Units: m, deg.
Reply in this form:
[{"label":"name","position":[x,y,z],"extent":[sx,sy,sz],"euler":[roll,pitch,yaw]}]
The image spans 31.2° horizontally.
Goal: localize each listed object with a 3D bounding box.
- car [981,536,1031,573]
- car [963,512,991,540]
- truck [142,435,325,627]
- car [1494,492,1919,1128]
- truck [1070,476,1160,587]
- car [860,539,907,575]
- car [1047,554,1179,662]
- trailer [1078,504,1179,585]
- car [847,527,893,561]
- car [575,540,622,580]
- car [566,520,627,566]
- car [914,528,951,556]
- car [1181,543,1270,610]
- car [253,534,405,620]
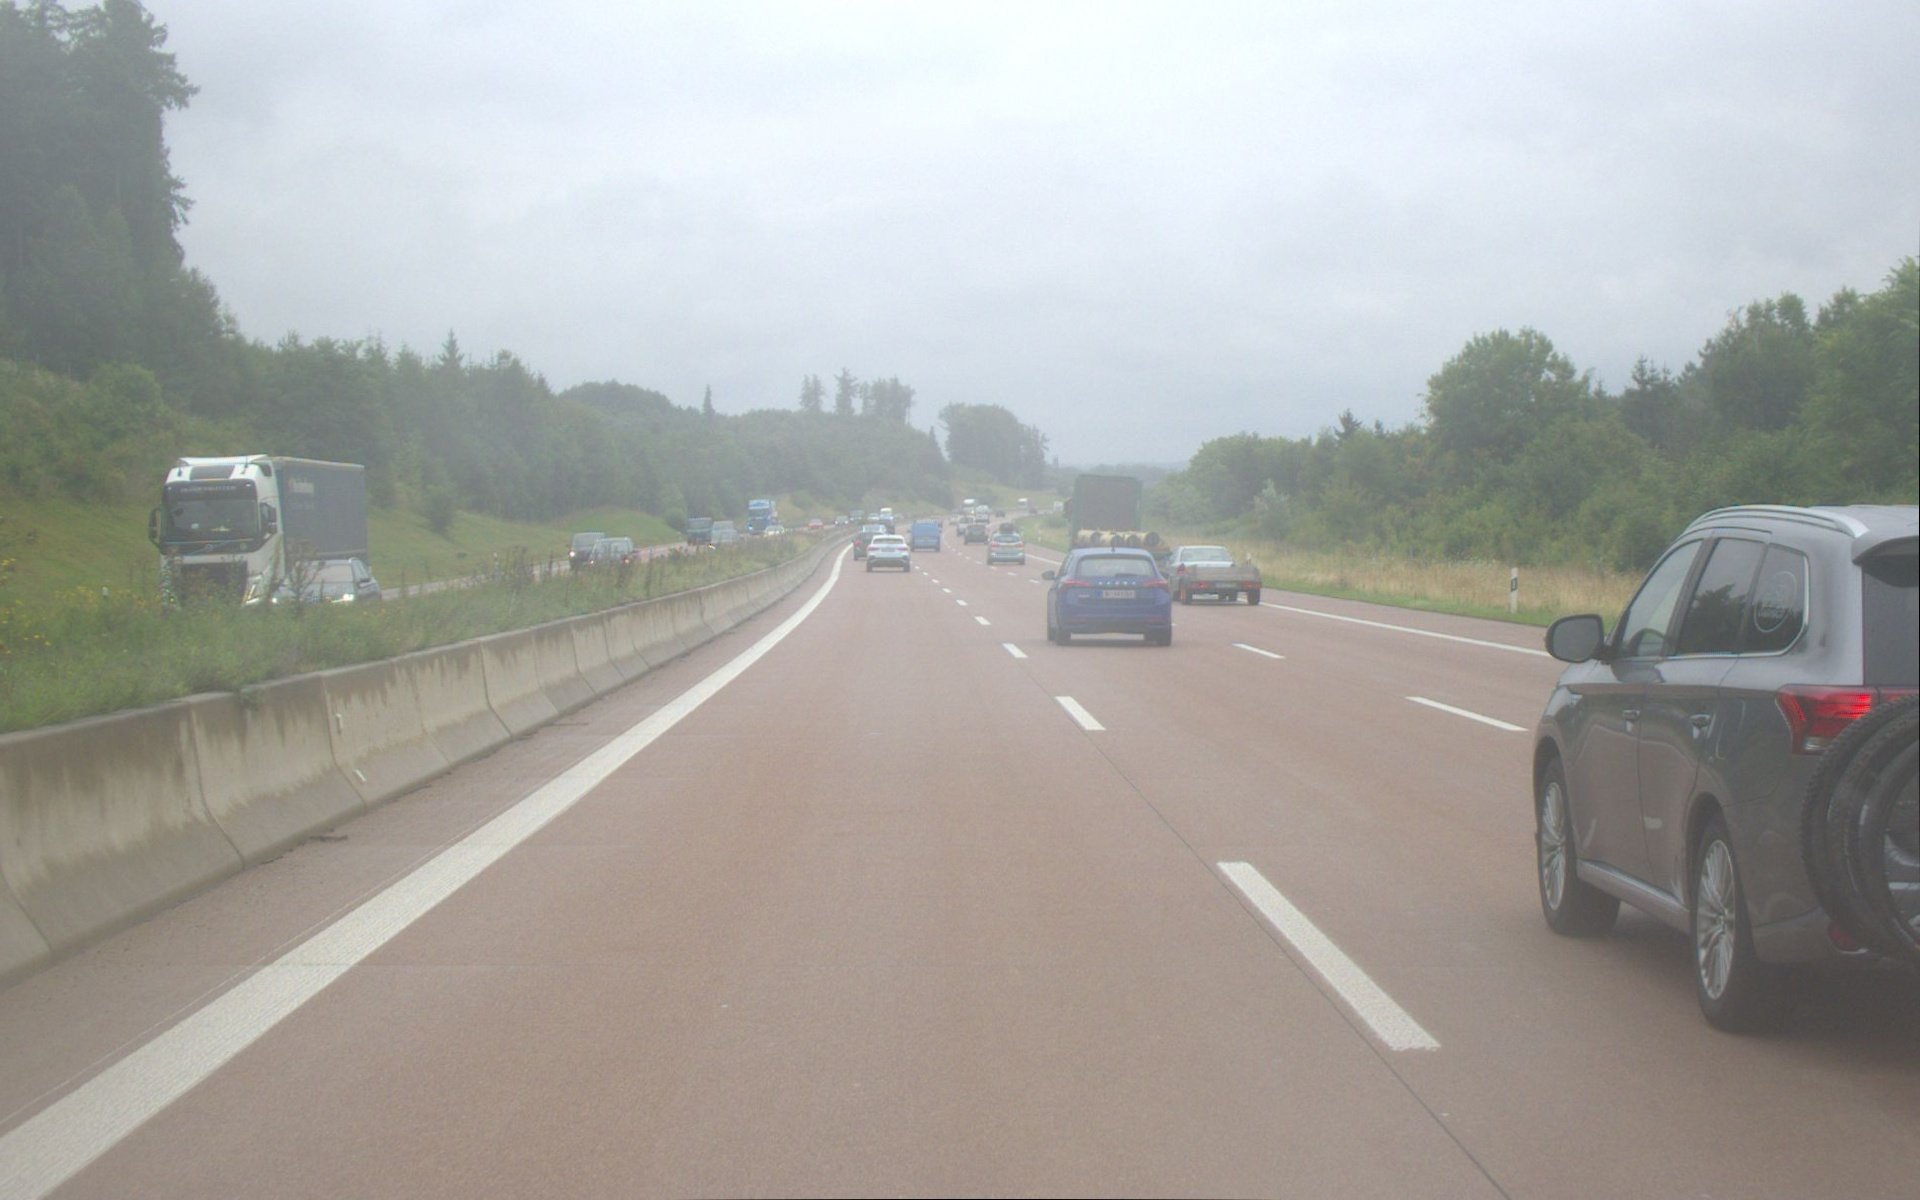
[{"label":"car","position":[2.208,-2.210,168.008],"extent":[2.322,1.744,4.877],"euler":[1,0,0]},{"label":"car","position":[1.297,-5.567,259.538],"extent":[1.993,2.007,4.000],"euler":[1,0,-1]},{"label":"truck","position":[-17.414,-1.628,82.904],"extent":[2.924,4.375,7.404],"euler":[1,0,-1]},{"label":"car","position":[3.266,0.512,11.497],"extent":[1.993,1.587,5.820],"euler":[1,0,0]},{"label":"truck","position":[5.724,-2.504,127.818],"extent":[2.897,3.951,6.989],"euler":[1,0,-1]},{"label":"car","position":[-3.207,-1.801,144.795],"extent":[1.874,1.439,4.877],"euler":[1,0,0]},{"label":"car","position":[2.288,0.094,52.286],"extent":[1.771,1.558,4.147],"euler":[1,0,0]},{"label":"trailer","position":[5.824,-1.912,120.421],"extent":[2.881,2.666,11.399],"euler":[1,0,0]},{"label":"car","position":[-4.748,-2.941,182.813],"extent":[2.322,1.744,4.877],"euler":[1,0,0]},{"label":"car","position":[-18.636,-2.065,177.521],"extent":[1.993,2.007,5.675],"euler":[1,0,-2]},{"label":"car","position":[-14.784,-2.340,140.036],"extent":[1.993,1.761,5.095],"euler":[0,2,-1]},{"label":"car","position":[-1.735,-3.721,220.709],"extent":[2.322,1.744,4.877],"euler":[1,0,0]},{"label":"car","position":[6.516,-0.595,84.689],"extent":[1.698,1.606,4.977],"euler":[0,1,-1]},{"label":"car","position":[-13.064,-0.484,71.538],"extent":[2.048,1.687,6.384],"euler":[1,0,-1]}]
